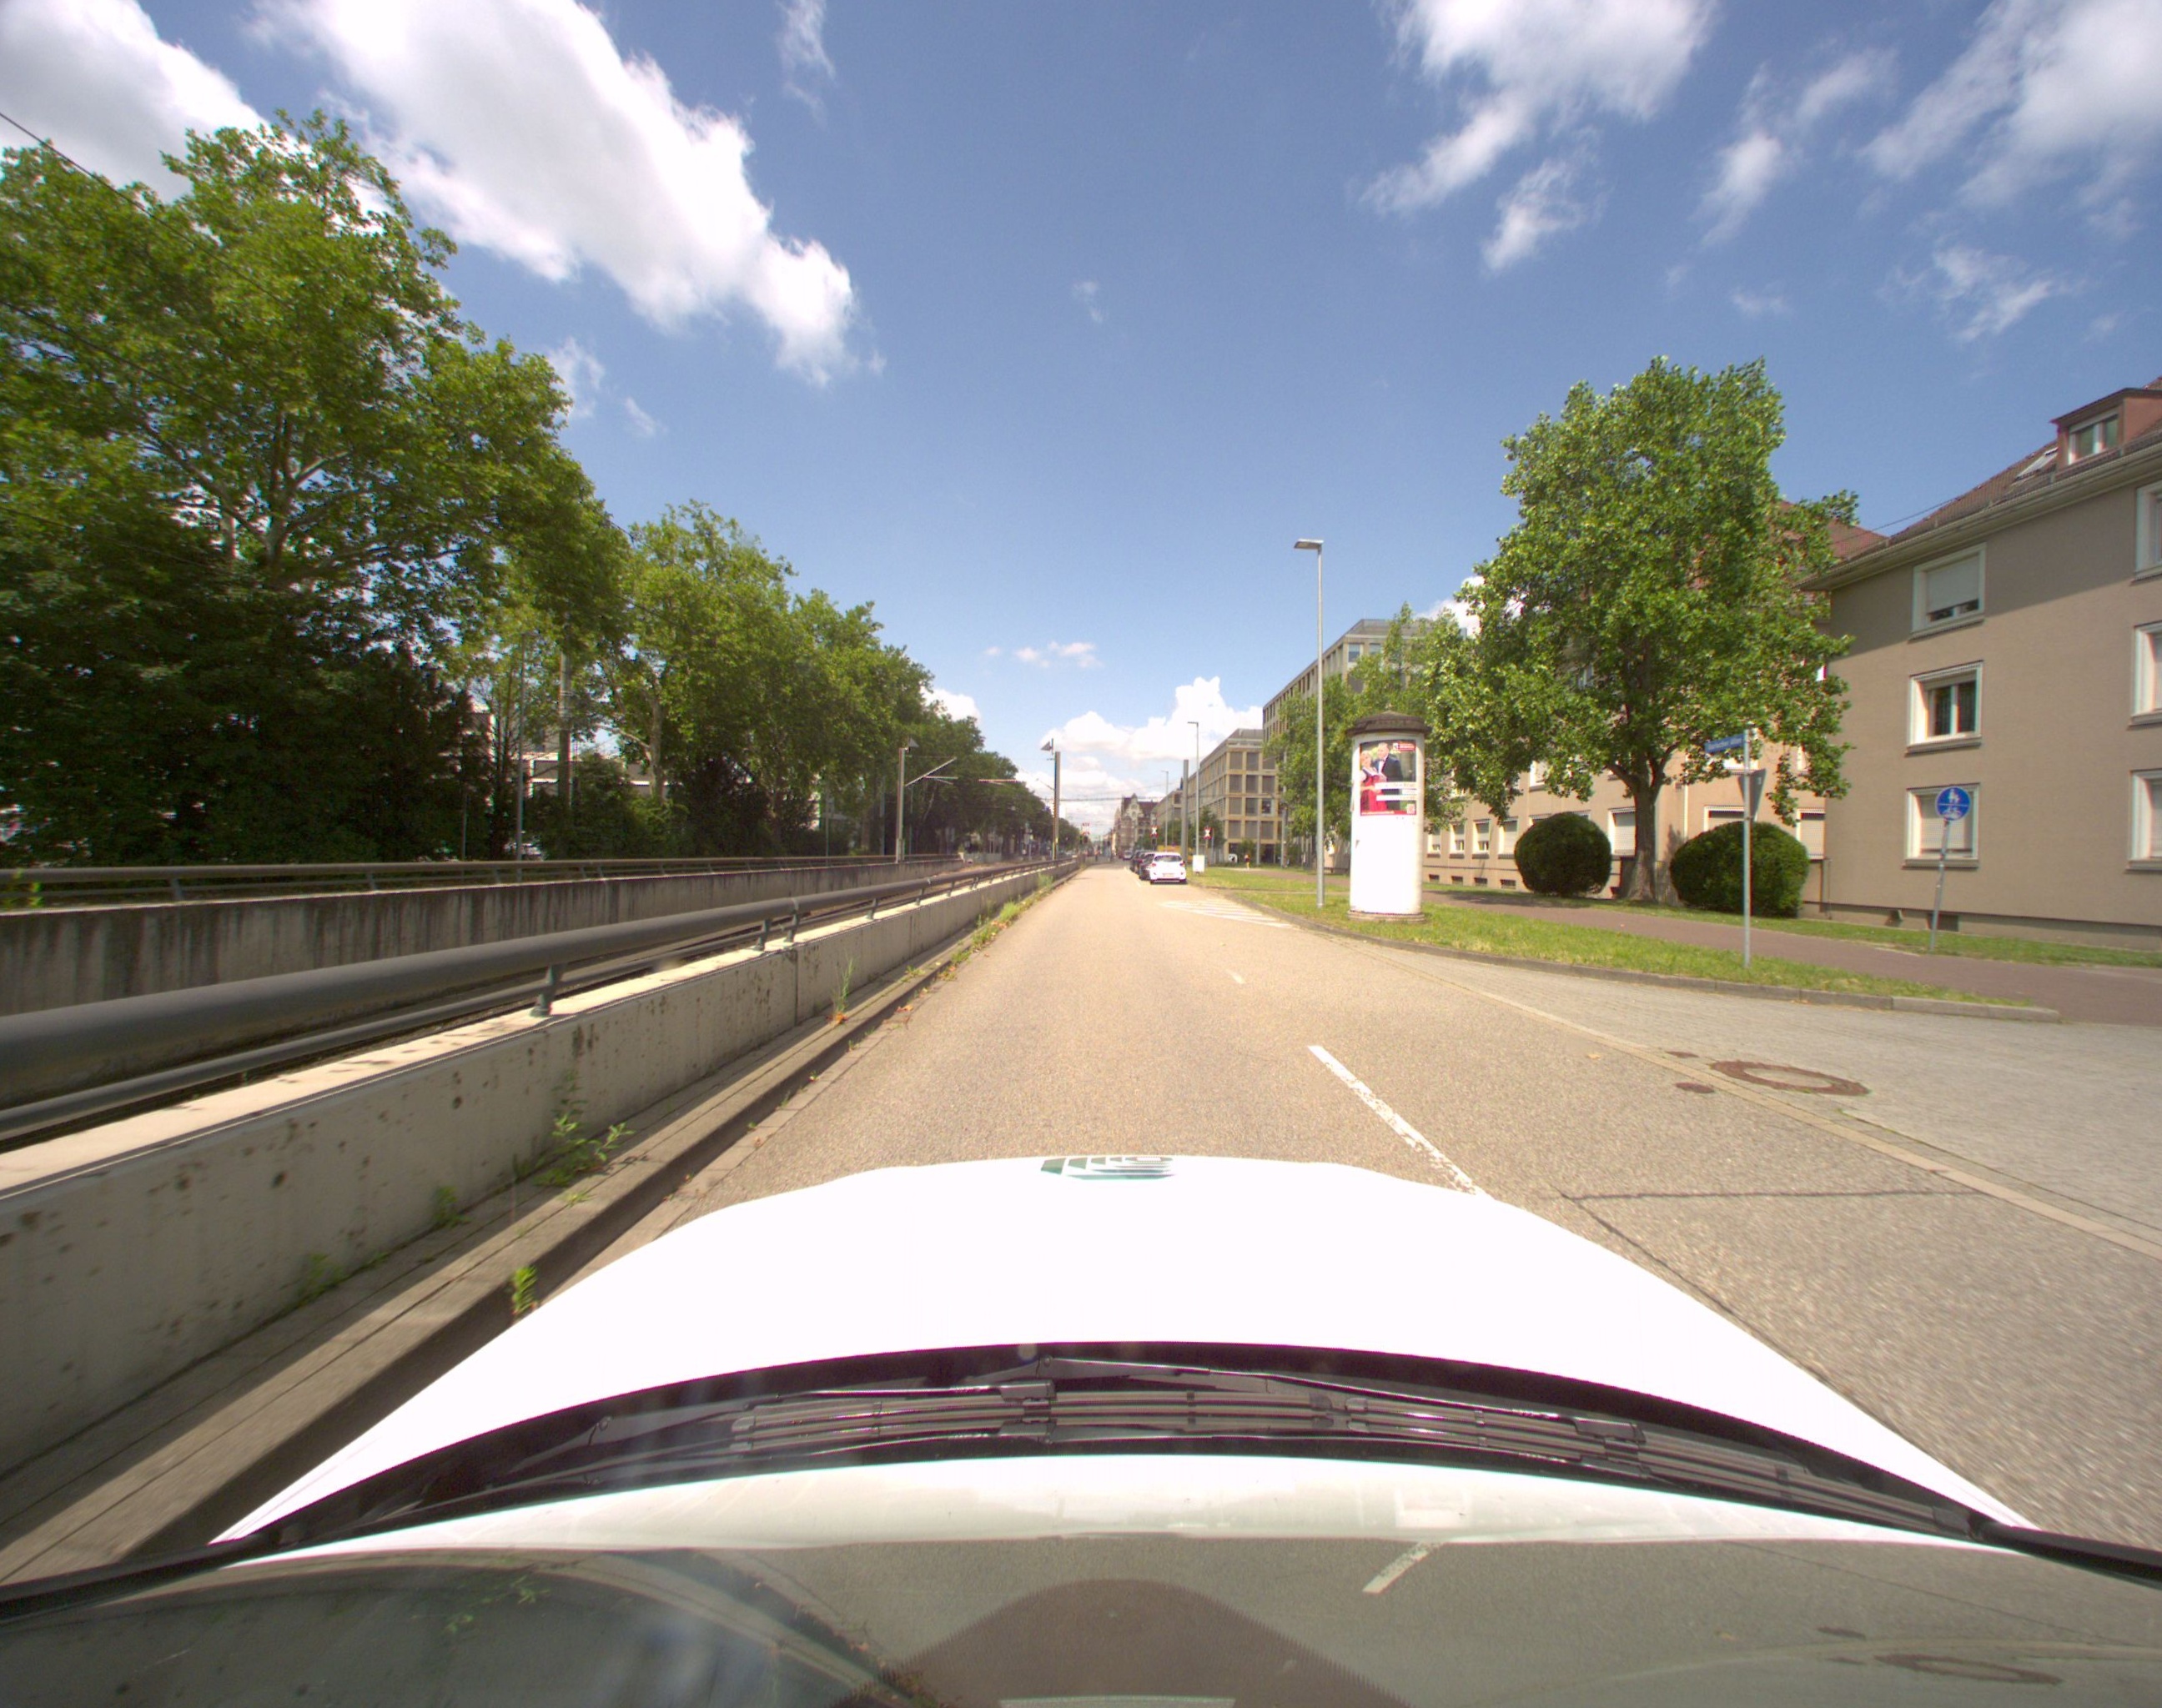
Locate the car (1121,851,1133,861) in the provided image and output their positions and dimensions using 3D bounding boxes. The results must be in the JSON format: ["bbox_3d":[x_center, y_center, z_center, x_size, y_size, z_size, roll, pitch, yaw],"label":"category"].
[{"bbox_3d":[8.213,0.345,145.720,1.862,1.746,4.000,2,0,1],"label":"car"}]

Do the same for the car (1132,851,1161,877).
[{"bbox_3d":[3.970,0.600,49.549,1.662,1.515,3.854,0,0,3],"label":"car"}]

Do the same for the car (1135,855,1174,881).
[{"bbox_3d":[3.960,0.728,44.257,1.817,1.312,4.443,0,0,1],"label":"car"}]

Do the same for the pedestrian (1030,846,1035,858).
[{"bbox_3d":[-7.860,-0.354,132.661,0.704,1.845,0.864,-1,-1,0],"label":"pedestrian"}]

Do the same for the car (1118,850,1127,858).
[{"bbox_3d":[10.082,0.025,197.682,1.986,2.014,4.001,-1,0,2],"label":"car"}]

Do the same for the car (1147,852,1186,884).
[{"bbox_3d":[4.091,0.658,39.382,1.700,1.479,3.792,0,0,3],"label":"car"}]

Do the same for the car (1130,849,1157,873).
[{"bbox_3d":[4.681,0.499,61.454,1.810,1.662,4.672,0,0,1],"label":"car"}]

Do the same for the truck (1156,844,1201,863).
[{"bbox_3d":[15.258,-0.034,127.969,6.786,2.867,2.453,1,-1,-1],"label":"truck"}]

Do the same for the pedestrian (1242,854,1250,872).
[{"bbox_3d":[15.393,0.822,76.028,0.620,1.608,0.624,-1,-1,-1],"label":"pedestrian"}]
